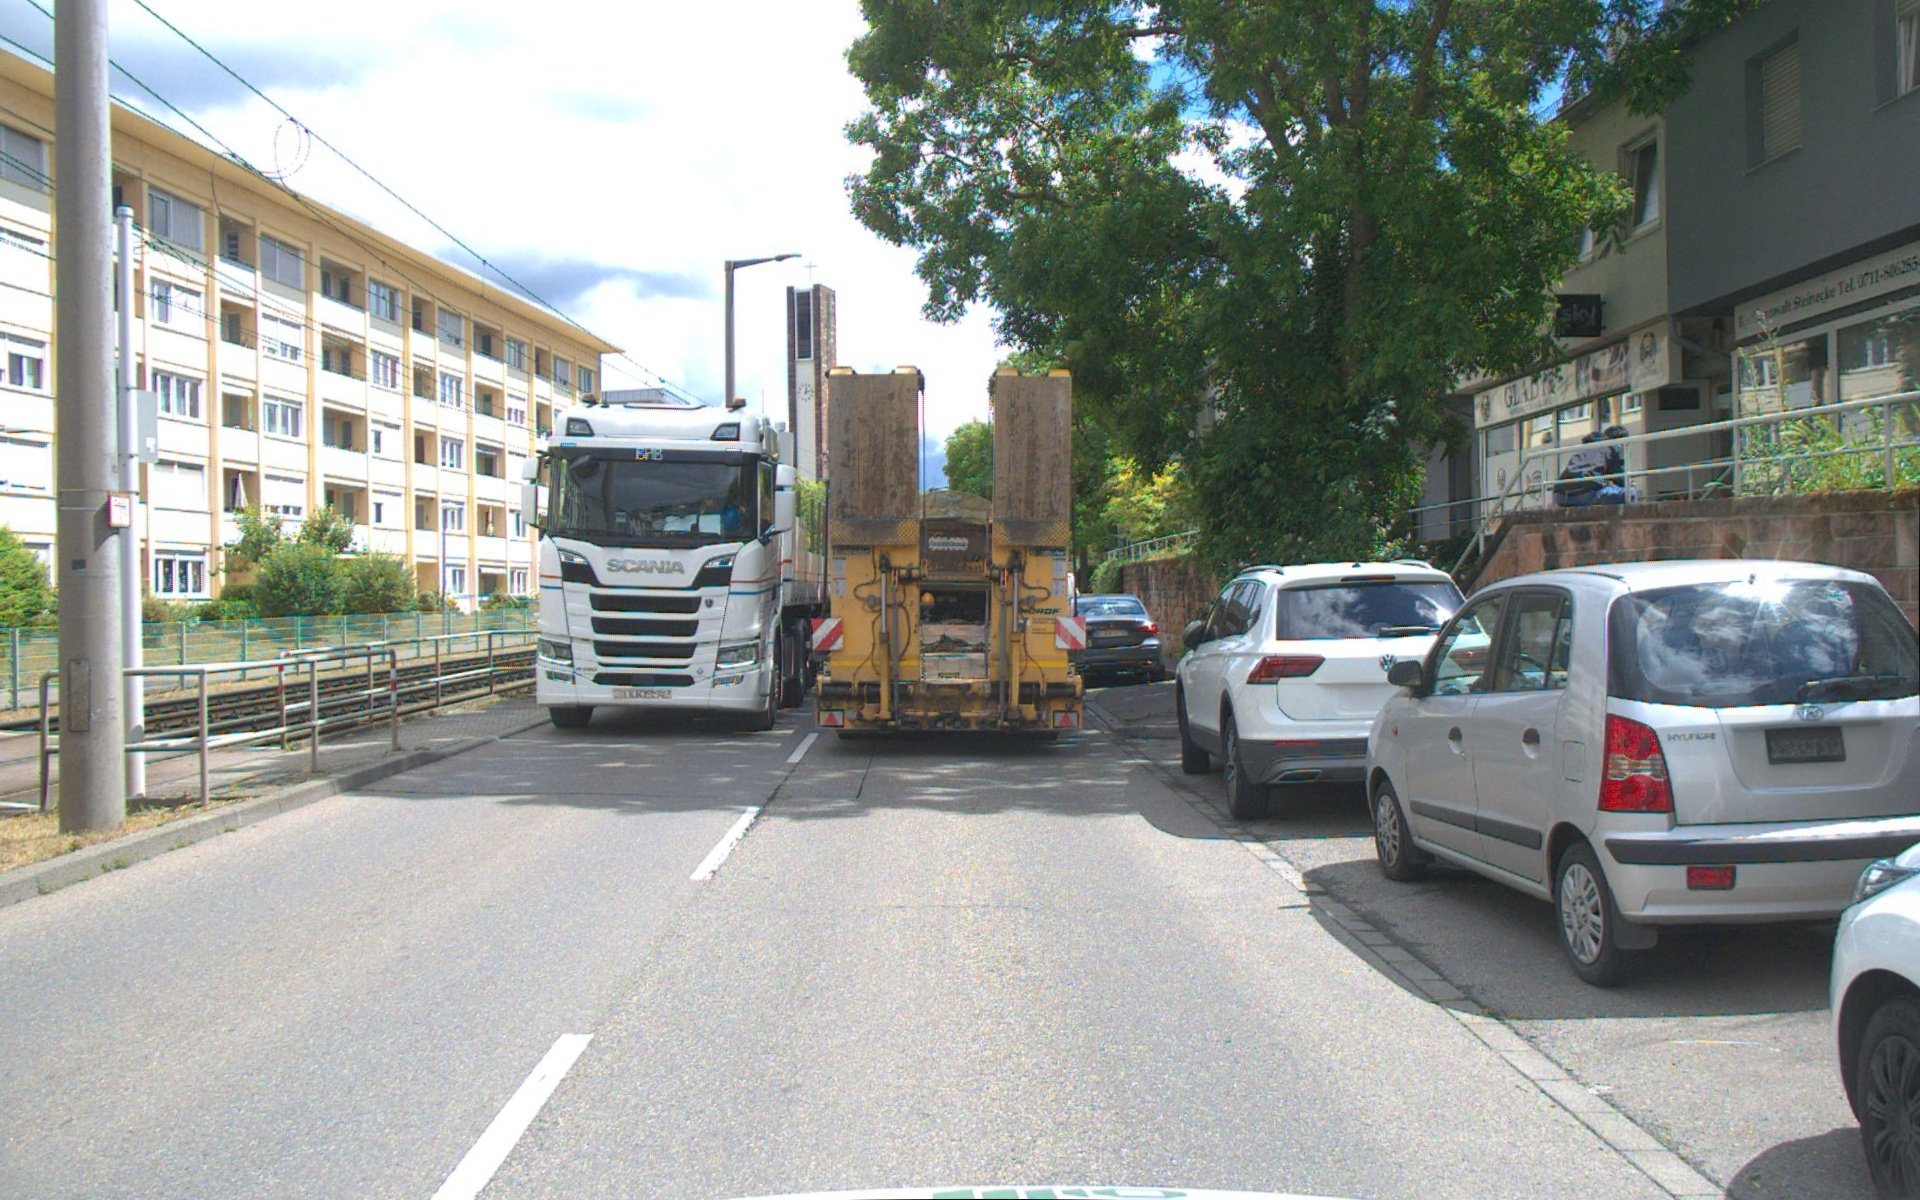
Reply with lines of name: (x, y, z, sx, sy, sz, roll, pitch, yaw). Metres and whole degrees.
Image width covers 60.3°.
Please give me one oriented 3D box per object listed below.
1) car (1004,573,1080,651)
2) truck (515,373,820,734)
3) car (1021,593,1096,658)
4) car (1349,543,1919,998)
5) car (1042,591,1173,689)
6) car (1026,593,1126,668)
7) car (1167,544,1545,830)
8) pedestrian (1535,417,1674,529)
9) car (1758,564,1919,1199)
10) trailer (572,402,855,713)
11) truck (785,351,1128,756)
car: (2.221, 0.296, 45.604, 1.763, 2.003, 4.589, -2, 1, -1)
truck: (-3.240, -0.504, 19.934, 2.643, 3.643, 6.144, 1, 1, -1)
car: (2.356, 0.587, 40.191, 1.587, 1.430, 3.650, -2, 1, 0)
car: (3.035, 0.574, 7.547, 1.550, 1.579, 3.473, 0, 1, -3)
car: (2.403, 0.610, 27.873, 1.798, 1.430, 4.414, -2, 1, 0)
car: (2.397, 0.594, 35.007, 1.656, 1.430, 4.067, -2, 1, -2)
car: (2.713, 0.506, 12.413, 1.786, 1.711, 4.576, -1, 1, 1)
pedestrian: (4.938, -0.964, 12.700, 0.779, 0.804, 0.705, 0, 0, -3)
car: (3.011, 0.683, 2.585, 1.612, 1.516, 3.821, 0, 1, -1)
trailer: (-3.341, -0.573, 26.363, 2.643, 3.643, 13.673, 1, 1, -1)
truck: (-0.106, -0.489, 21.126, 3.060, 3.626, 12.458, 0, 1, -1)
